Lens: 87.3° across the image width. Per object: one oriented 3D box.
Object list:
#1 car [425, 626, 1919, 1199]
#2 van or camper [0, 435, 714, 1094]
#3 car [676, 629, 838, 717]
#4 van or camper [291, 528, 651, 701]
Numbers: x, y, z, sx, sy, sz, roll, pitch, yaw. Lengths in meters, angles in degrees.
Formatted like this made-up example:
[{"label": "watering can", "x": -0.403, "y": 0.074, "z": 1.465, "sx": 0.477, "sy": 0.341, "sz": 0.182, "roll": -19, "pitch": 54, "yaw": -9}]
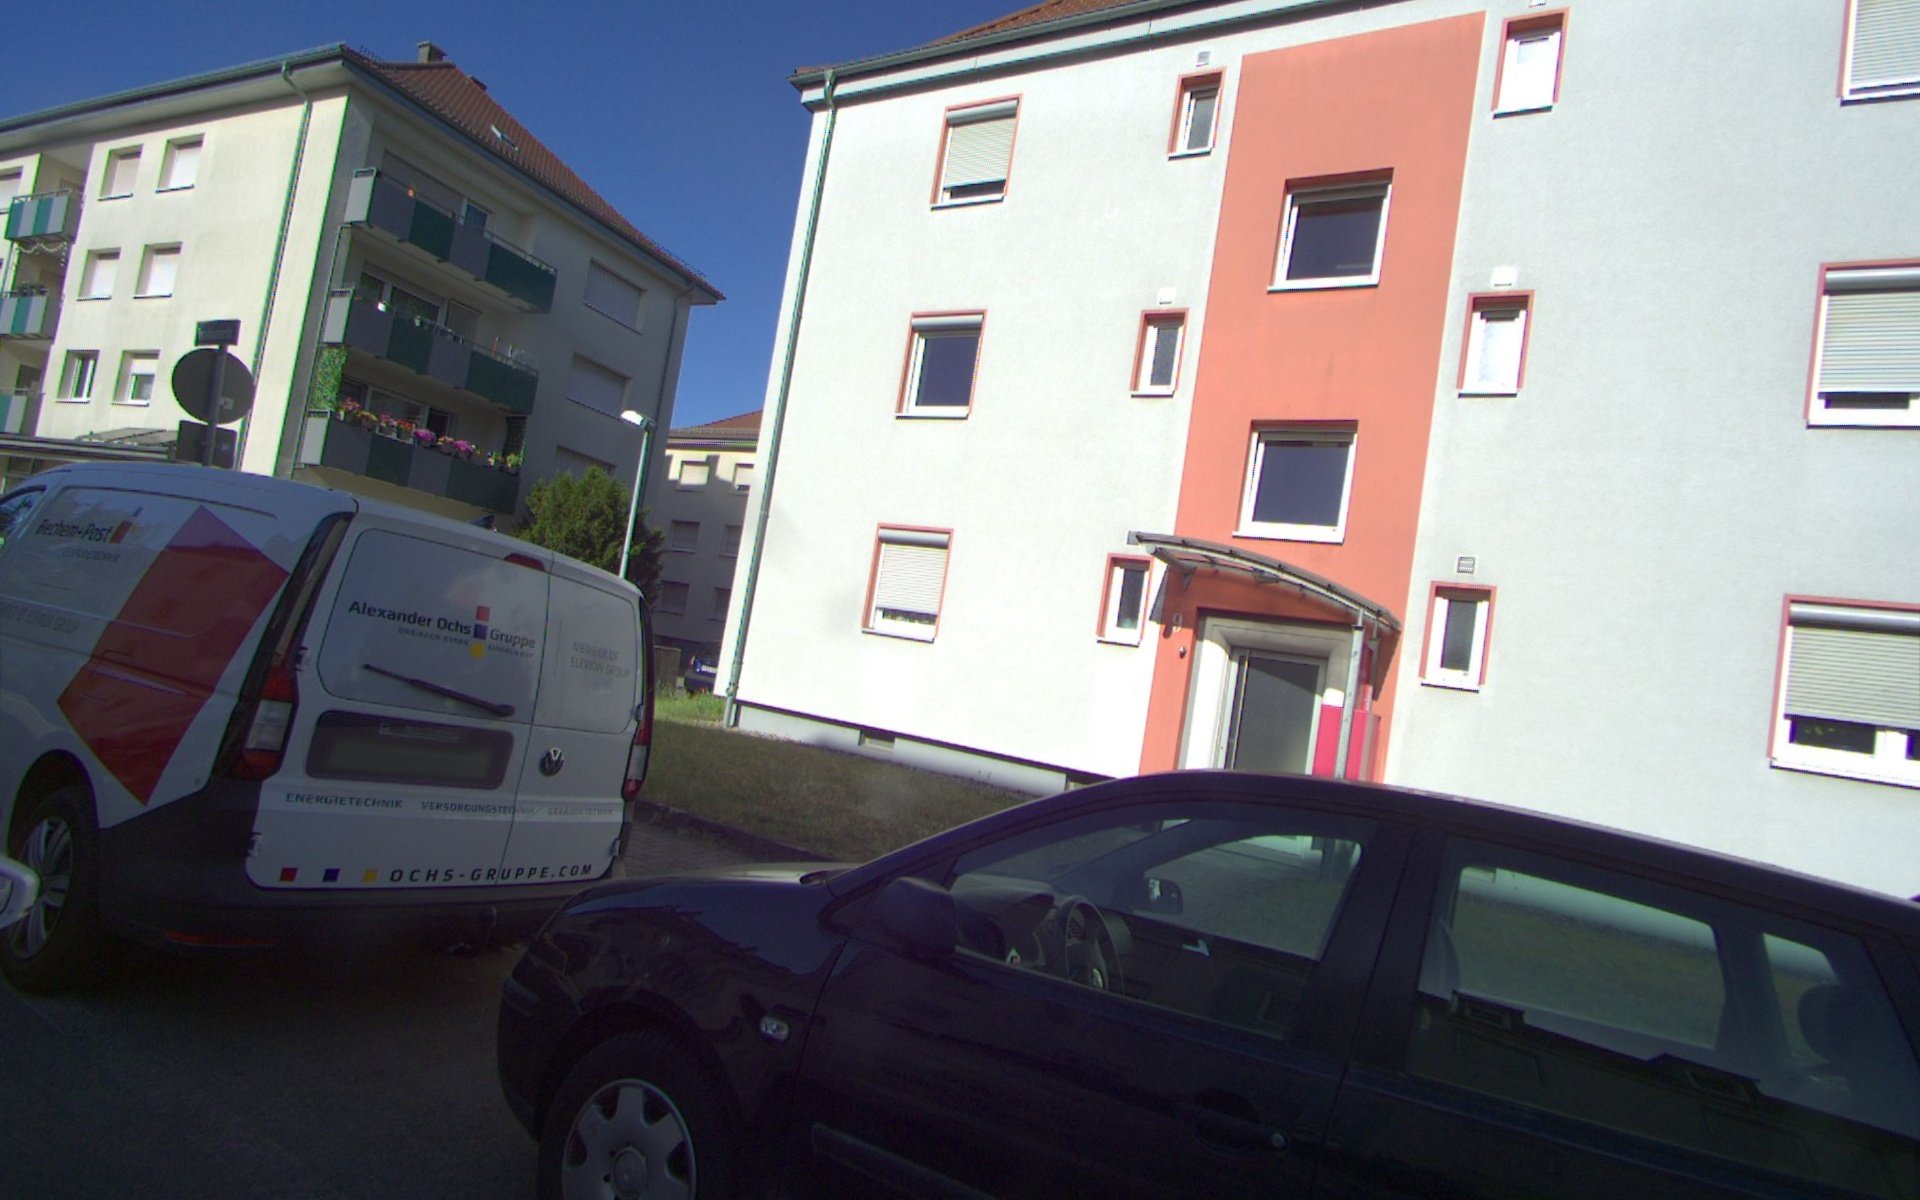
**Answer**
[{"label": "car", "x": 0.787, "y": 1.111, "z": 2.285, "sx": 3.723, "sy": 1.431, "sz": 1.580, "roll": 7, "pitch": -6, "yaw": 29}, {"label": "van or camper", "x": -3.611, "y": 0.347, "z": 4.712, "sx": 4.655, "sy": 1.765, "sz": 1.799, "roll": 7, "pitch": -4, "yaw": 31}, {"label": "car", "x": -4.620, "y": 1.734, "z": 23.362, "sx": 1.652, "sy": 1.545, "sz": 3.487, "roll": 7, "pitch": -5, "yaw": 30}, {"label": "van or camper", "x": -8.164, "y": 0.395, "z": 17.428, "sx": 1.966, "sy": 2.034, "sz": 5.142, "roll": 9, "pitch": -4, "yaw": 31}]
